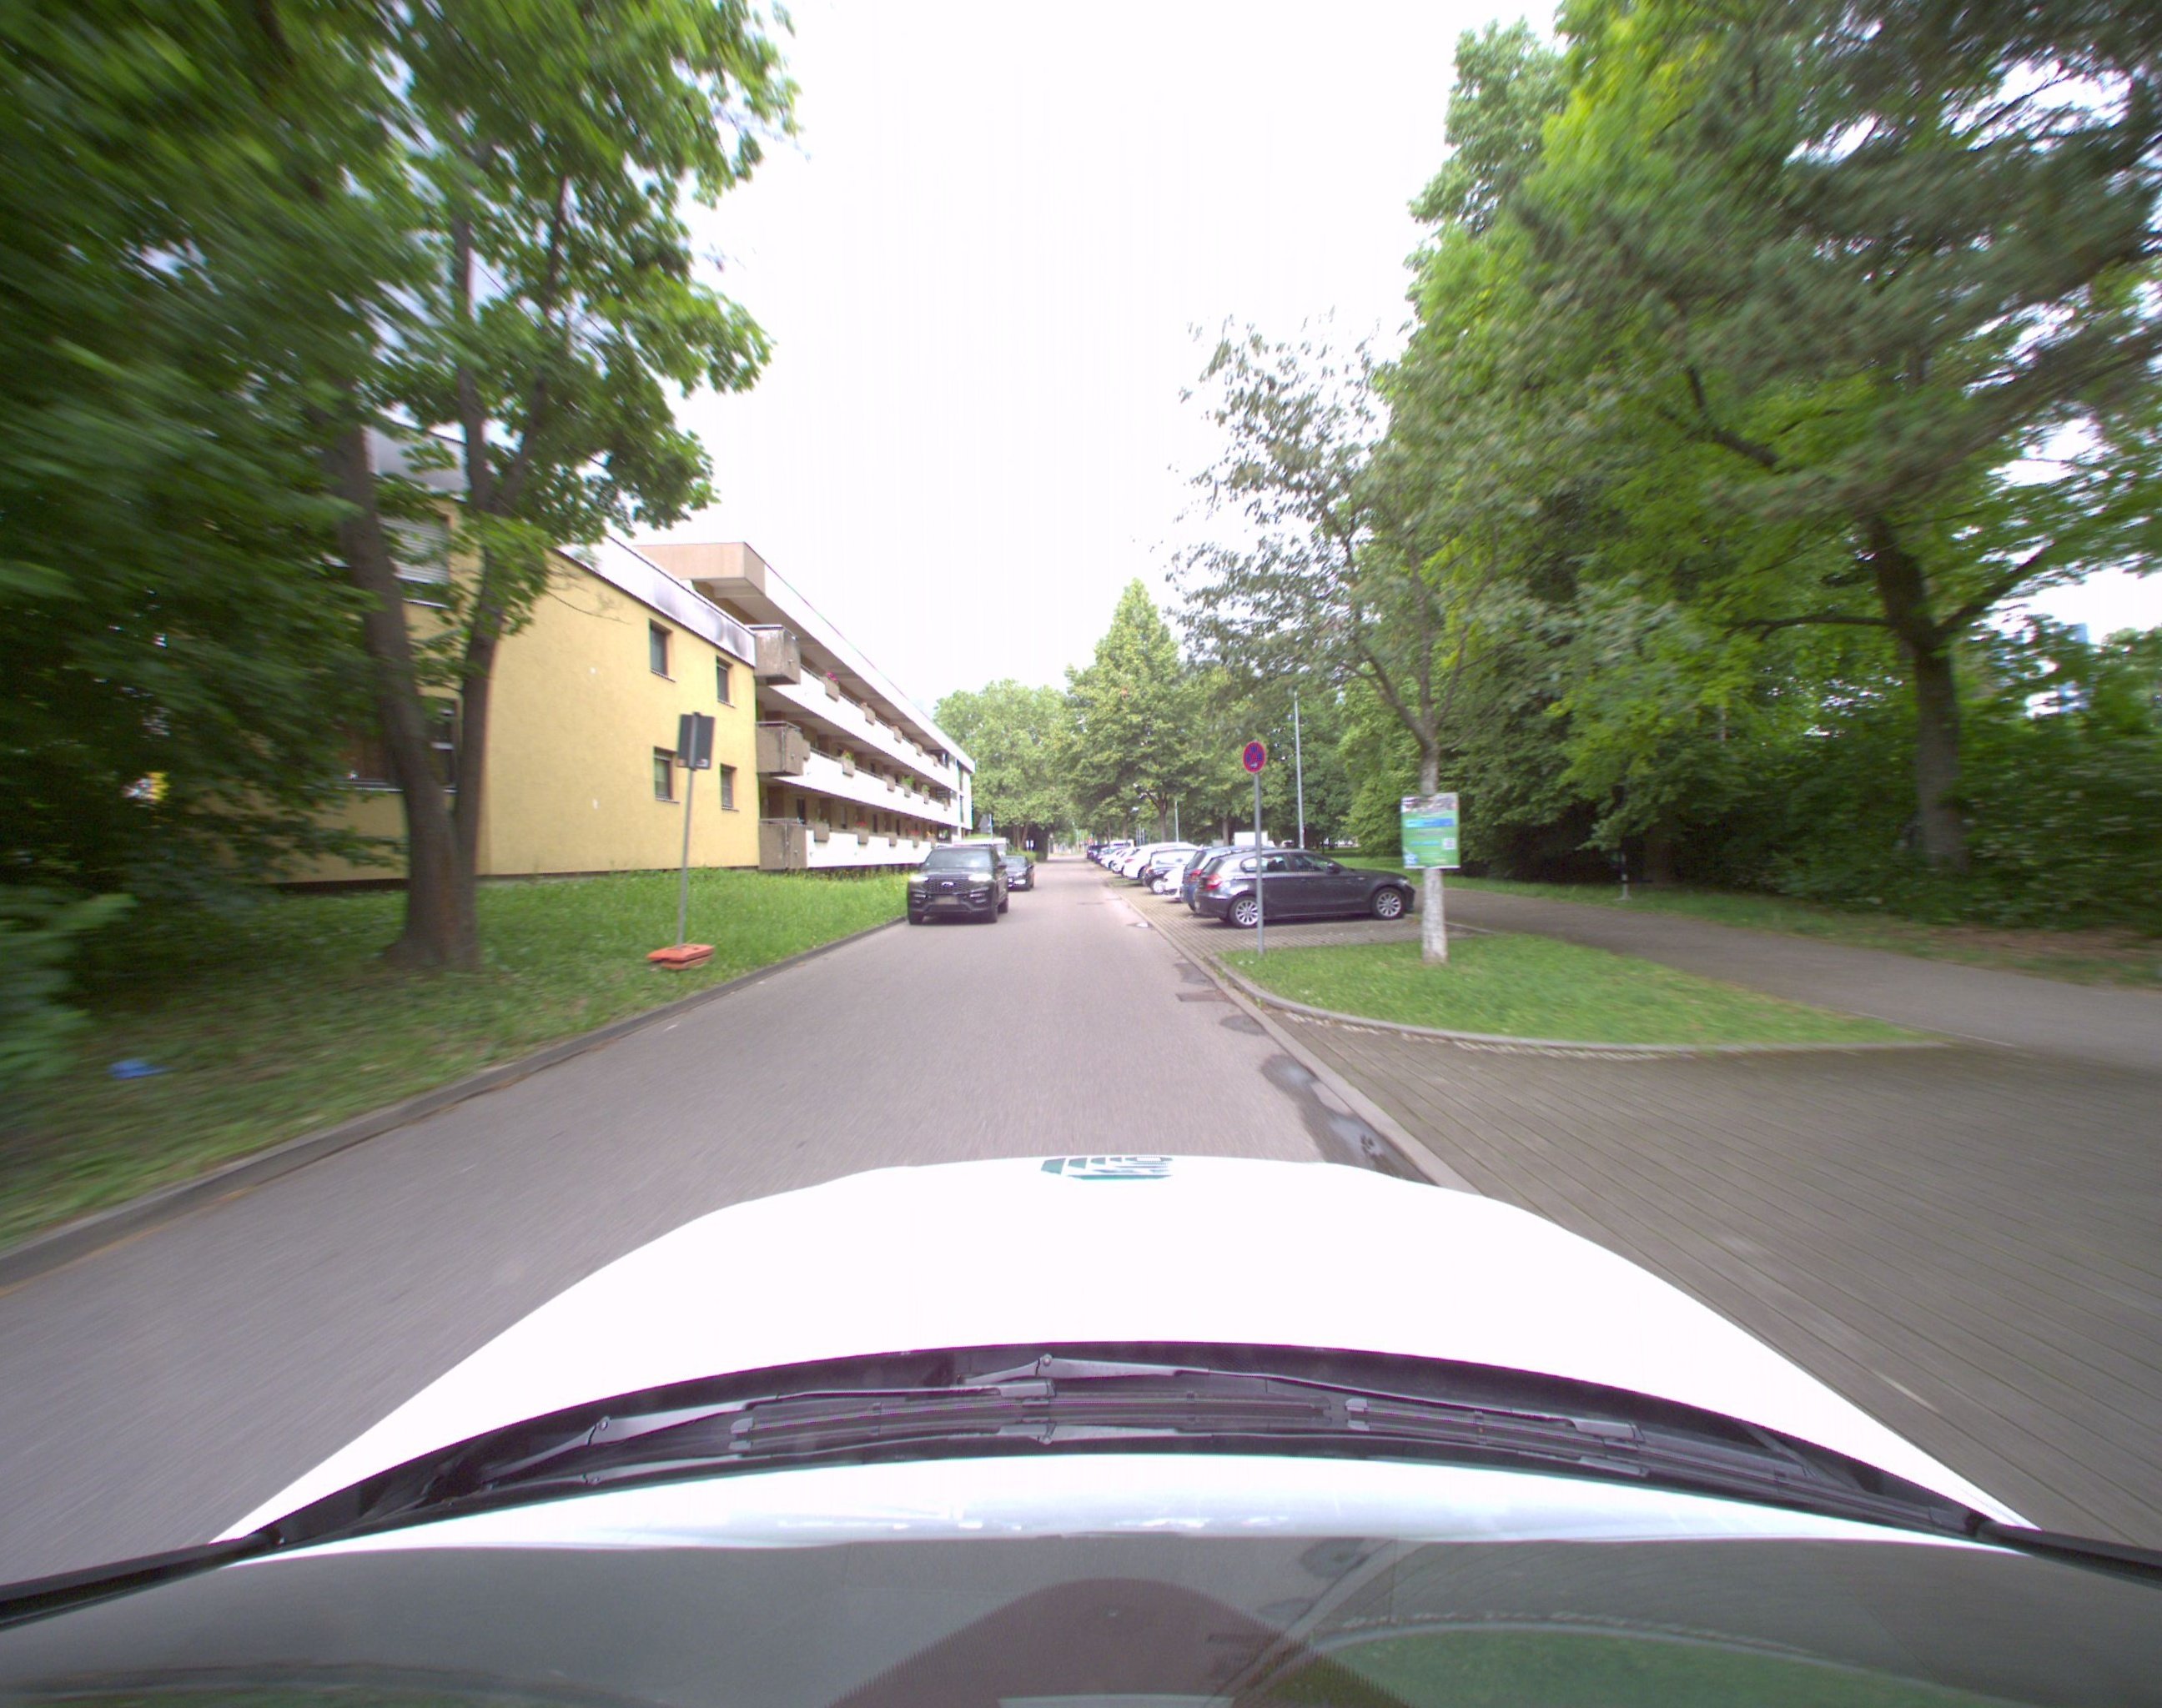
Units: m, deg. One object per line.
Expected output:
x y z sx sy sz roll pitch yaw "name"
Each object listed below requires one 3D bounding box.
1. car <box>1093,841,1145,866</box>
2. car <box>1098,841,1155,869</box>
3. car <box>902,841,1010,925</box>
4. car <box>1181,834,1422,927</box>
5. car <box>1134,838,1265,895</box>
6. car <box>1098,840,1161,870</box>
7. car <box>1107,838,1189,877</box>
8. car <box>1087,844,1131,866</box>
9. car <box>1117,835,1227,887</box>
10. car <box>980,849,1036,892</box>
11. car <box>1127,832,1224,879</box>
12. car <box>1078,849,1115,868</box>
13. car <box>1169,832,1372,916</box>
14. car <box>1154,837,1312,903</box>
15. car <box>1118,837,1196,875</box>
3.120 -0.073 67.652 4.056 1.687 1.819 -6 0 -5 "car"
3.453 0.082 62.512 4.056 1.687 1.819 -6 0 -5 "car"
-2.847 0.618 19.515 1.963 1.747 4.335 -2 0 -2 "car"
4.143 0.503 15.803 4.052 1.434 1.998 -3 -2 -2 "car"
4.026 0.407 27.987 4.056 1.488 1.819 -6 0 -5 "car"
3.365 0.037 56.825 4.056 1.687 1.819 -6 0 -5 "car"
3.552 0.191 43.771 4.056 1.687 1.819 -6 0 -5 "car"
2.793 0.069 80.914 4.056 1.770 1.819 -6 0 -5 "car"
3.641 0.264 33.047 4.056 1.687 1.819 -6 0 -5 "car"
-2.934 0.625 33.440 1.963 1.575 4.335 -2 0 -2 "car"
4.302 0.065 37.374 4.056 1.687 1.819 -6 0 -5 "car"
1.821 0.517 96.075 4.056 1.770 1.819 -6 0 -5 "car"
4.162 0.452 18.325 4.052 1.568 1.821 -3 -2 -2 "car"
4.241 0.433 23.160 4.052 1.568 1.821 -3 0 -2 "car"
4.260 0.110 46.271 4.056 1.687 1.819 -6 0 -5 "car"
